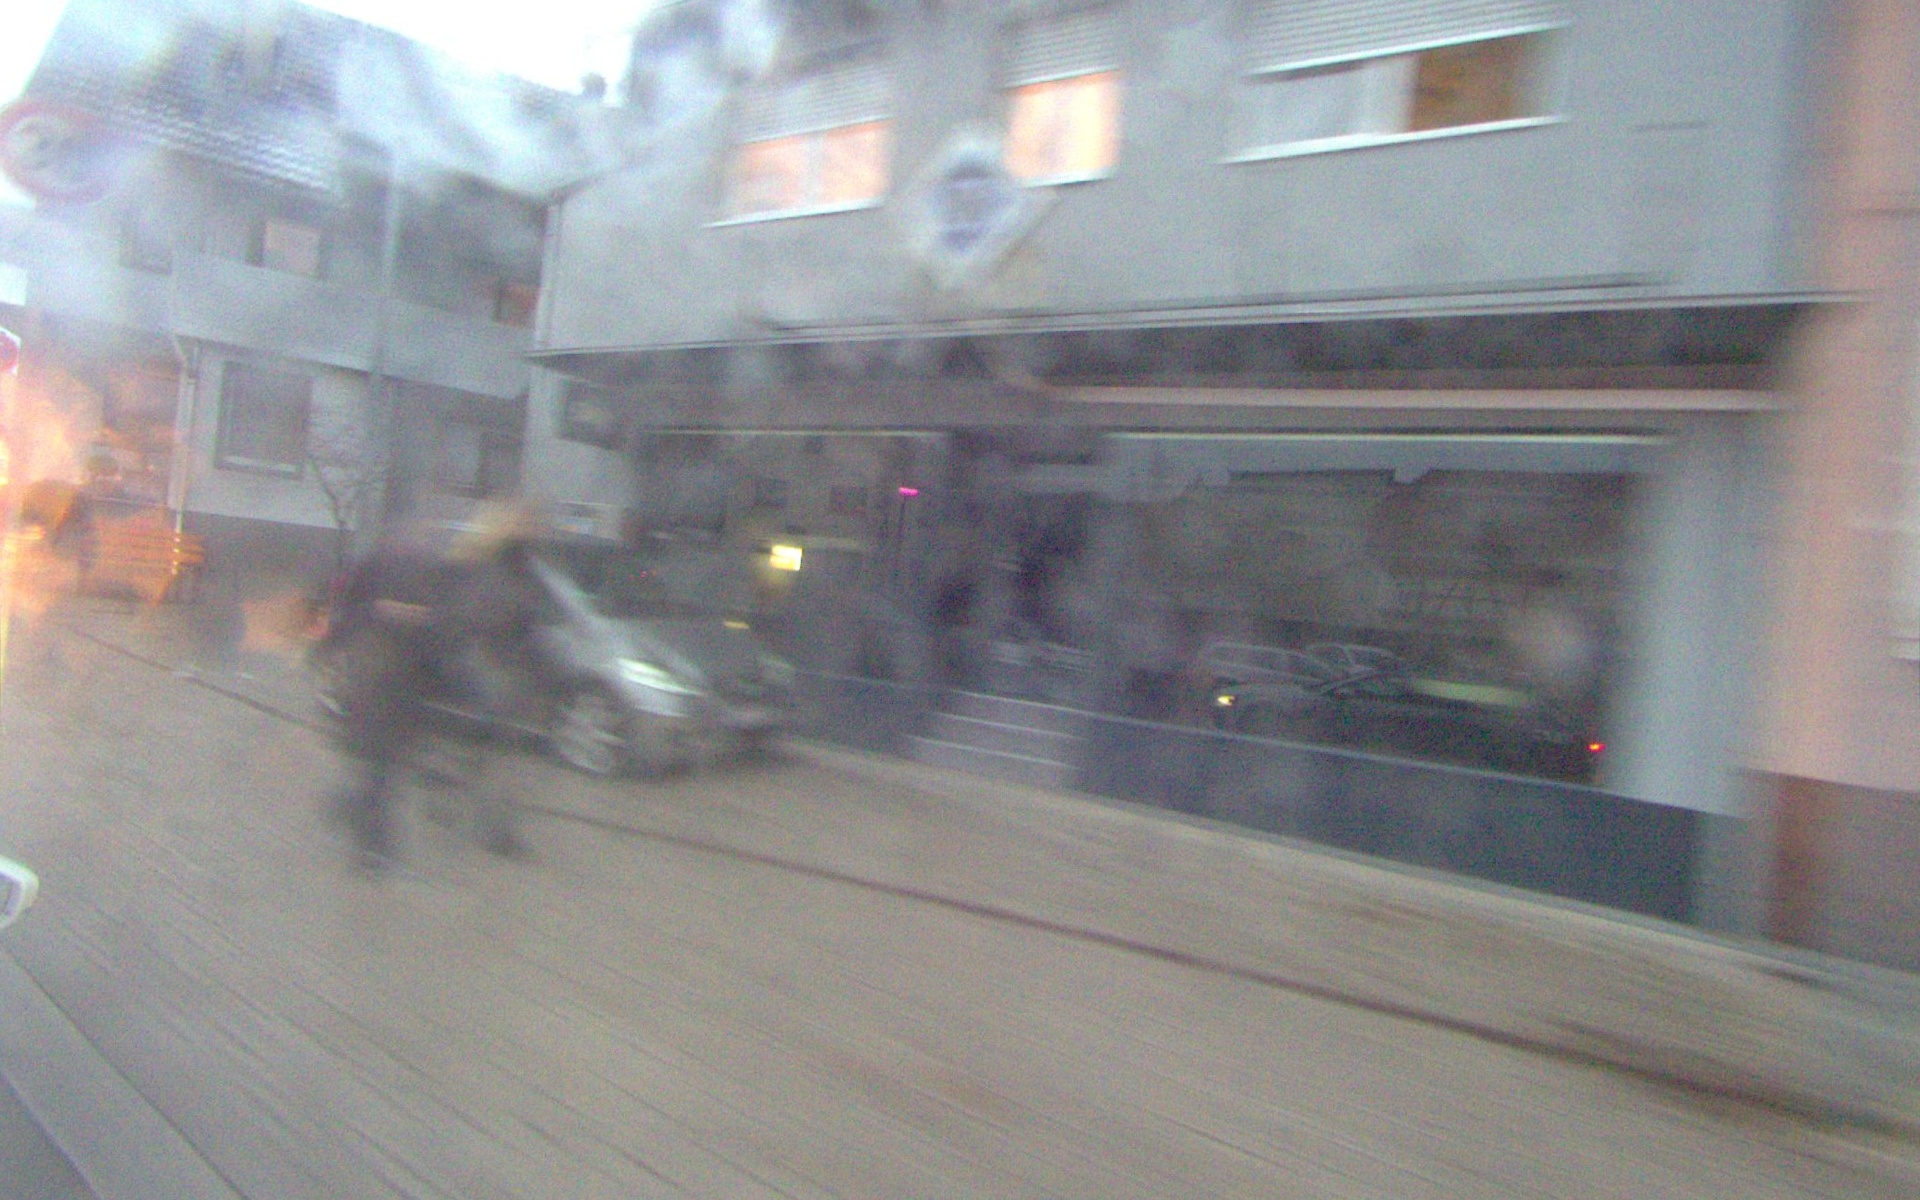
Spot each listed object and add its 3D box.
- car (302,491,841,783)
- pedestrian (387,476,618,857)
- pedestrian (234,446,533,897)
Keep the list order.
[{"bbox_3d":[-2.971,0.185,7.695,3.598,1.581,1.737,7,1,25],"label":"car"},{"bbox_3d":[-2.244,0.289,4.938,0.779,1.690,0.579,7,1,34],"label":"pedestrian"},{"bbox_3d":[-2.479,0.264,4.339,0.791,1.721,0.713,7,1,33],"label":"pedestrian"}]
